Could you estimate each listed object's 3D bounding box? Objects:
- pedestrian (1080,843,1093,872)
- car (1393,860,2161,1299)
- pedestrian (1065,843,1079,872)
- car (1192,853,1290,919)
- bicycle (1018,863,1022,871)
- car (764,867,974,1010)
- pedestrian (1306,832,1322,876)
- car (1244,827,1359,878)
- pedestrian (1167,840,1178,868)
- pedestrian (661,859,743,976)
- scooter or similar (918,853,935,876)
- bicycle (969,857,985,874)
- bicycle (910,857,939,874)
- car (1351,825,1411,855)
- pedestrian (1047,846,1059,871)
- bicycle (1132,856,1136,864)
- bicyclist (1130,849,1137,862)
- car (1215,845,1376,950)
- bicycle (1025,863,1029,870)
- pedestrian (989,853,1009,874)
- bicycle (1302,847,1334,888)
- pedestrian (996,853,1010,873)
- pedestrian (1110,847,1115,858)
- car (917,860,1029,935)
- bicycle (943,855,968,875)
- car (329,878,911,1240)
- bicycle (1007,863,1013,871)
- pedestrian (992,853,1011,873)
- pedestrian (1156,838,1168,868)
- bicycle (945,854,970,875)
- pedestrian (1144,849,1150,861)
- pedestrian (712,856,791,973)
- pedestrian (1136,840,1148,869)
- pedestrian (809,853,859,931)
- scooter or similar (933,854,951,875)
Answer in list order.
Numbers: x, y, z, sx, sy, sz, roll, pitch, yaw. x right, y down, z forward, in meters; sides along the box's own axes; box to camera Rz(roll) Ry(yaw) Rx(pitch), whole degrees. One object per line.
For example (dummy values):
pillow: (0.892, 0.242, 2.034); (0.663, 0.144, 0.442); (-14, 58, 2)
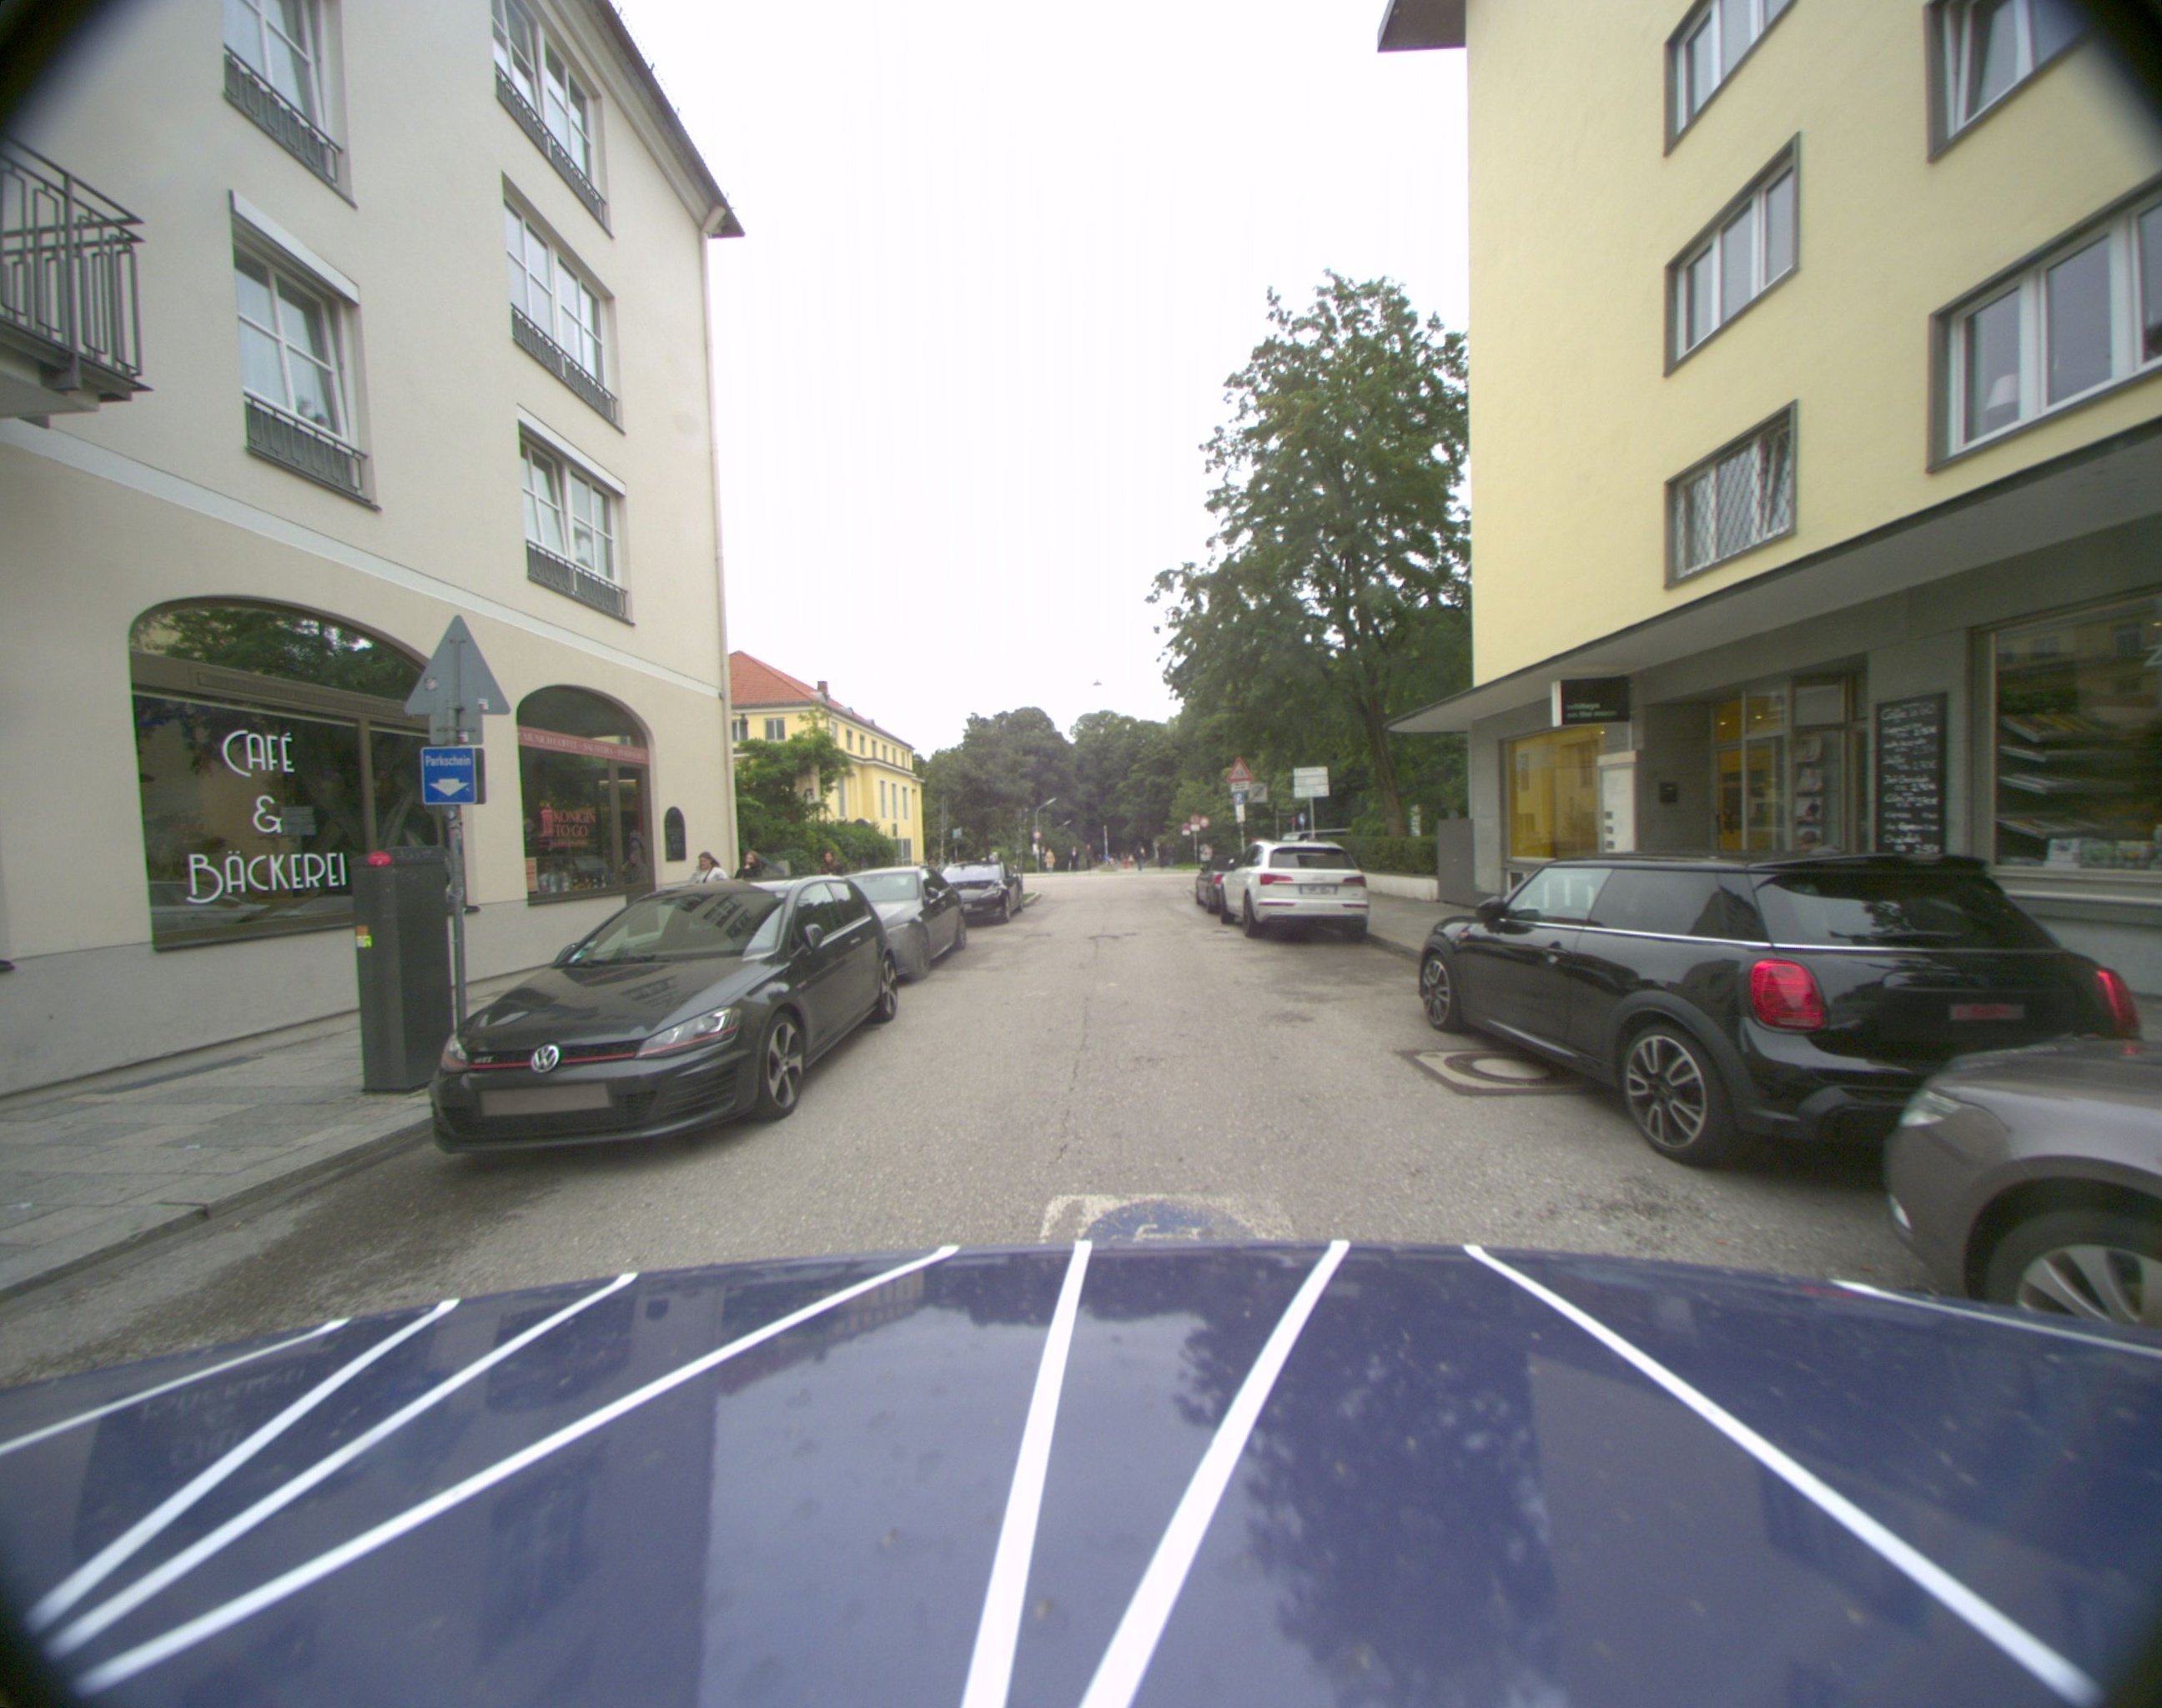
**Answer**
pedestrian: (0.313, 0.198, 44.805); (0.639, 1.662, 0.774); (-3, -1, 3)
car: (3.551, 0.831, 4.768); (1.683, 1.463, 4.097); (-1, 1, 3)
pedestrian: (-0.519, 0.233, 44.678); (0.685, 1.662, 0.774); (-3, -1, 3)
car: (3.891, 0.716, 19.080); (1.750, 1.402, 4.098); (0, 1, 2)
bicycle: (-5.352, 1.116, 66.864); (0.215, 0.672, 0.909); (0, -1, 5)
car: (-2.780, 1.025, 11.091); (1.650, 1.417, 4.509); (-4, 1, 1)
pedestrian: (9.725, -0.009, 31.728); (0.560, 1.788, 0.641); (-2, 0, 20)
car: (9.563, -0.120, 33.054); (4.421, 1.990, 1.933); (-2, 3, -12)
pedestrian: (5.877, 0.029, 48.624); (0.634, 1.771, 0.801); (-1, 0, 2)
pedestrian: (-5.712, 0.936, 11.498); (0.706, 1.652, 0.880); (-2, 3, 1)
scooter or similar: (-8.699, 0.594, 42.903); (0.396, 1.240, 1.391); (-1, 0, 11)
bicycle: (-6.427, 0.720, 46.883); (0.307, 1.032, 1.656); (0, -1, 17)
bicycle: (-9.030, 0.667, 43.820); (1.656, 0.987, 0.248); (0, 0, -22)
car: (23.200, -1.080, 58.797); (3.957, 2.093, 1.908); (-2, 2, 33)
pedestrian: (-1.954, 0.345, 52.434); (0.653, 1.676, 0.976); (-3, -1, 3)
bicycle: (7.175, 0.770, 102.746); (0.483, 1.035, 1.946); (-1, 1, 5)
bicyclist: (7.125, 0.215, 102.810); (0.856, 1.792, 0.767); (-2, 1, 2)
car: (3.616, 0.660, 13.637); (1.807, 1.574, 4.338); (0, 0, 2)
bicycle: (-5.060, 1.153, 71.397); (0.242, 0.653, 0.909); (0, -1, 3)
pedestrian: (-5.357, 0.621, 49.534); (1.217, 1.240, 0.639); (-3, -1, -8)
bicycle: (7.577, 0.414, 24.352); (0.563, 1.203, 1.854); (-3, 2, 5)
pedestrian: (-5.260, 0.604, 51.127); (0.887, 1.227, 0.550); (-3, -1, -8)
pedestrian: (5.003, -0.194, 120.066); (0.685, 1.662, 0.774); (-3, -1, 3)
car: (-2.455, 0.939, 18.424); (1.807, 1.402, 4.656); (-3, 1, 2)
bicycle: (-7.402, 0.634, 44.975); (0.202, 1.184, 1.658); (0, -1, 43)
car: (-2.638, 1.037, 5.685); (1.679, 1.417, 4.203); (-4, 1, 0)
bicycle: (-5.615, 1.015, 59.869); (0.215, 0.672, 0.910); (0, -1, 14)
pedestrian: (-5.303, 0.603, 50.476); (1.178, 1.285, 0.639); (-3, -1, -8)
pedestrian: (5.188, -0.046, 48.698); (0.707, 1.892, 0.804); (-1, 0, 2)
bicycle: (-7.268, 0.625, 44.829); (0.169, 1.191, 1.658); (0, -1, 43)
pedestrian: (9.708, 0.181, 112.175); (0.685, 1.662, 0.774); (-3, -1, 3)
pedestrian: (-4.963, 0.889, 11.504); (0.706, 1.652, 0.880); (-2, 3, 1)
pedestrian: (3.959, 0.042, 49.259); (0.751, 1.822, 1.115); (-1, 0, 2)
pedestrian: (-5.371, 0.805, 16.577); (0.706, 1.614, 0.880); (-2, 3, 1)
scooter or similar: (-7.849, 0.597, 43.008); (1.114, 1.206, 0.324); (-1, 0, 39)
